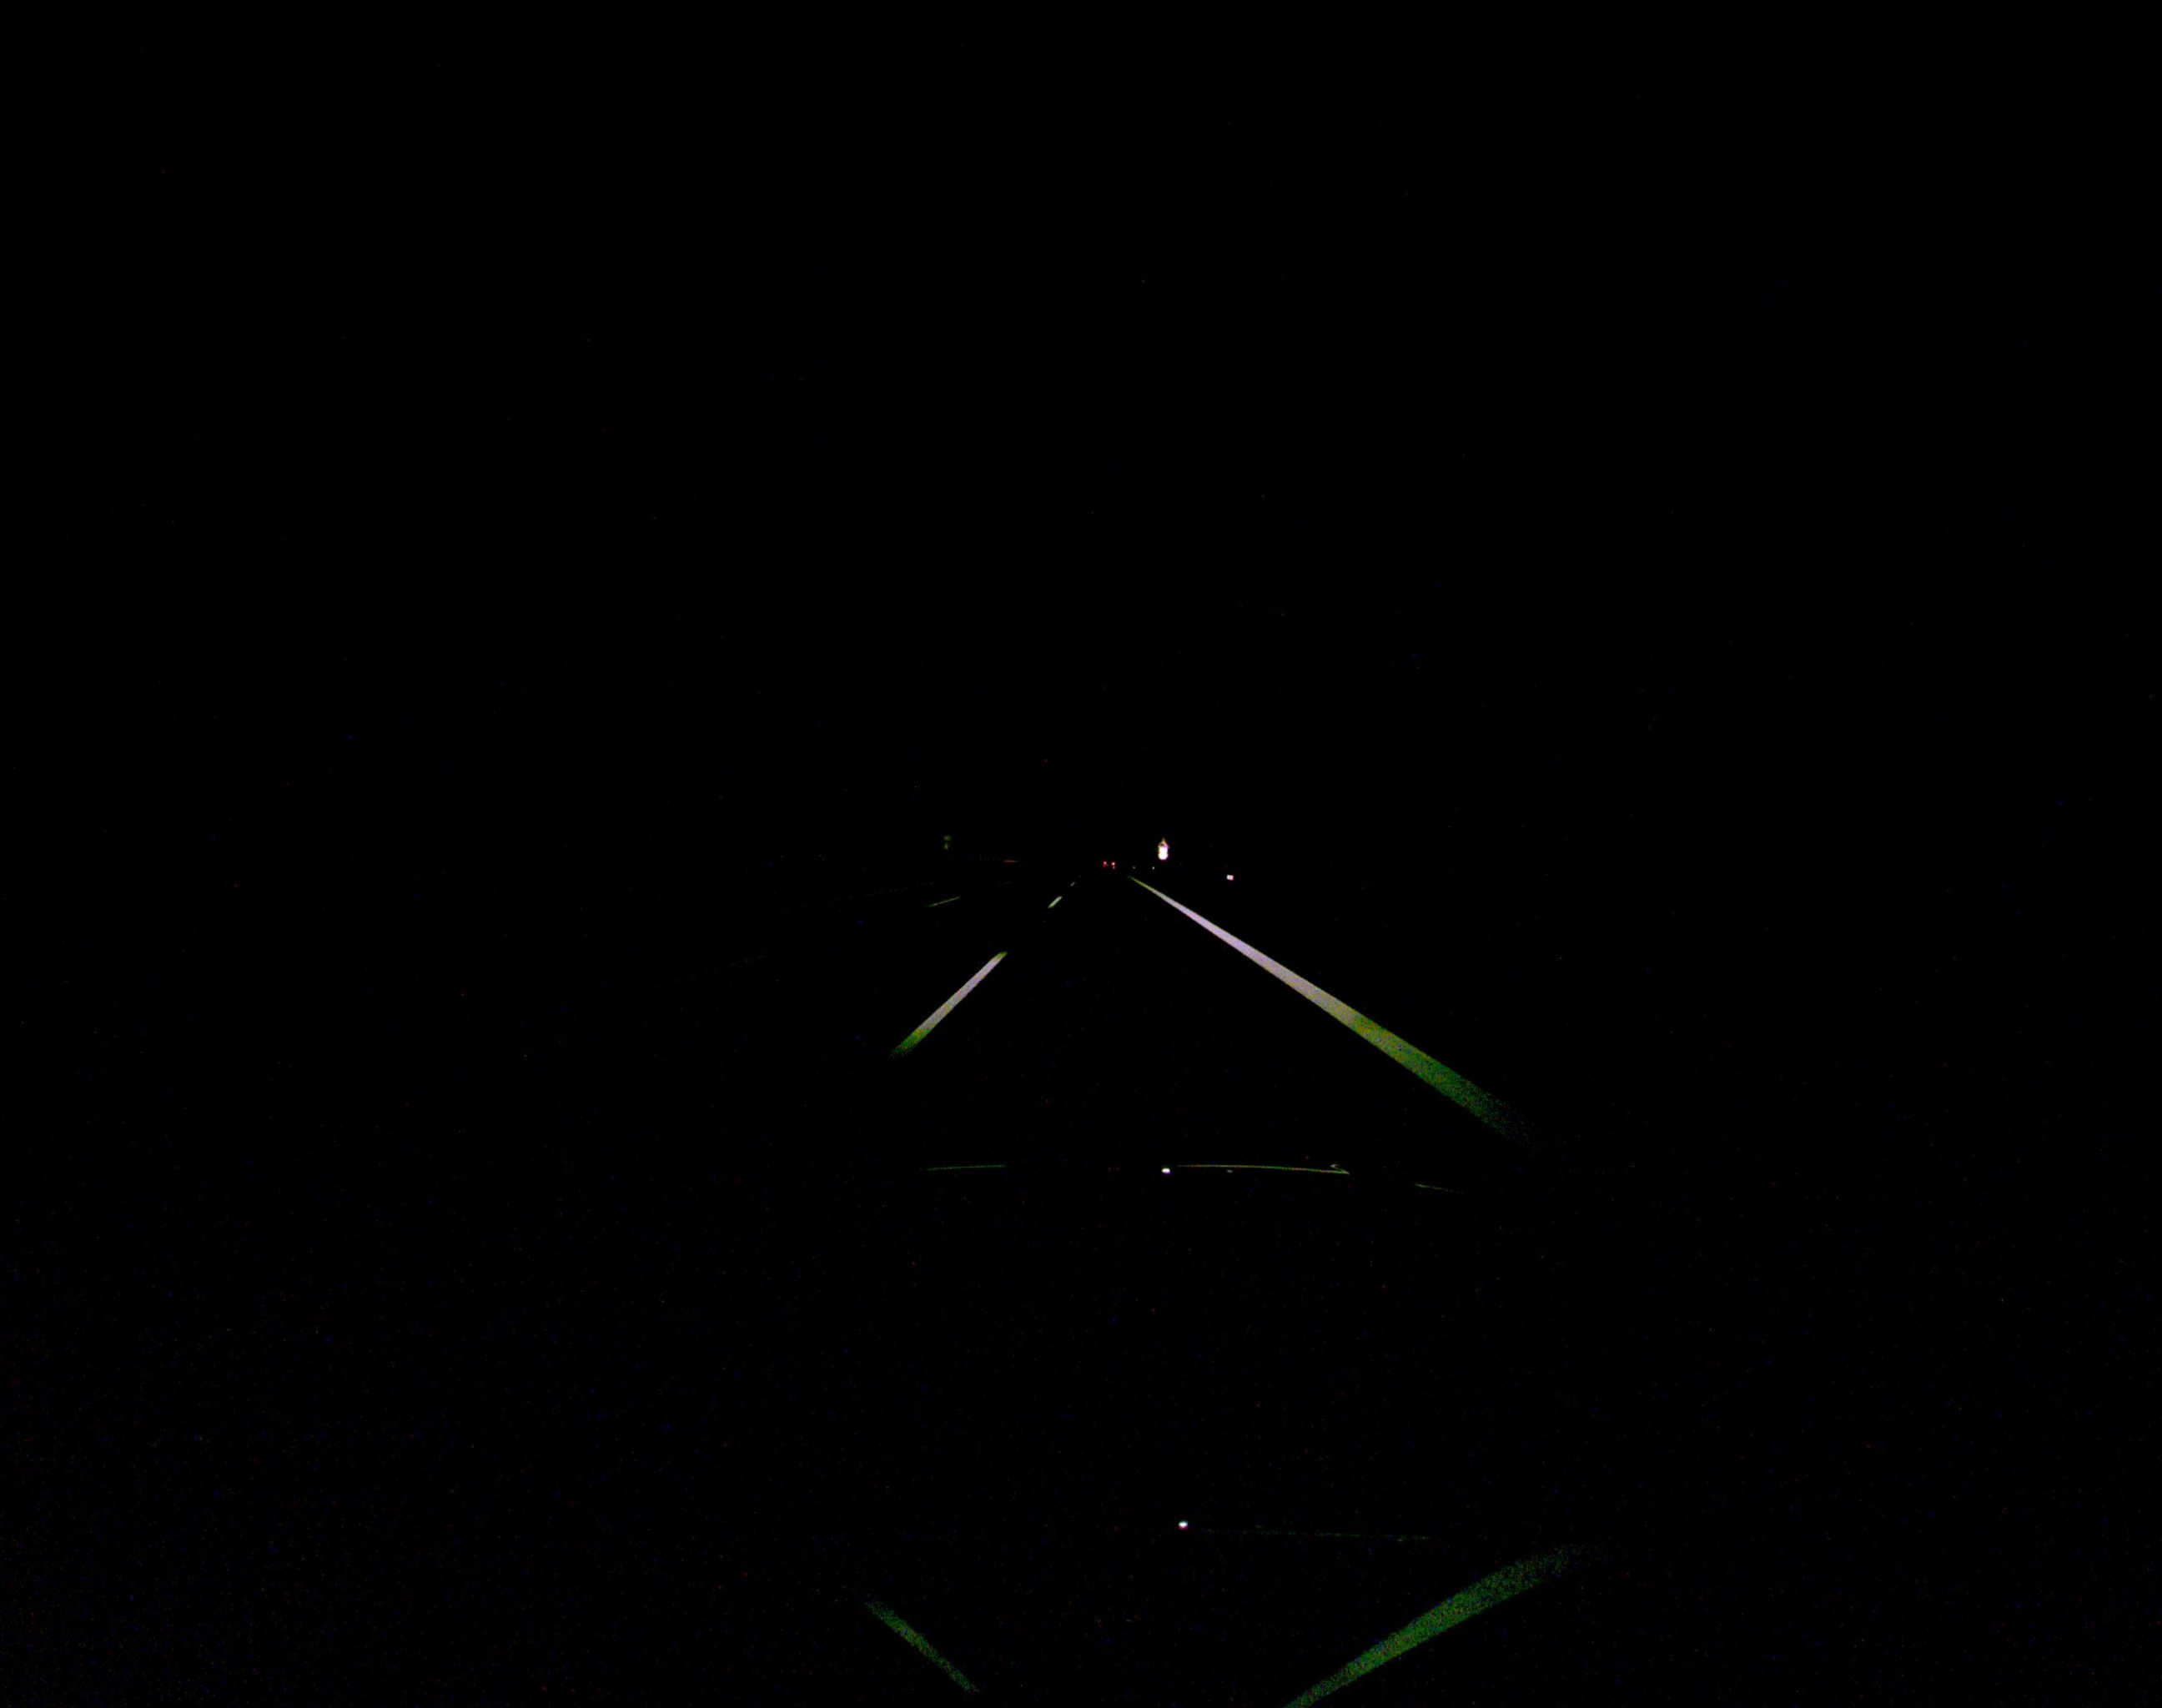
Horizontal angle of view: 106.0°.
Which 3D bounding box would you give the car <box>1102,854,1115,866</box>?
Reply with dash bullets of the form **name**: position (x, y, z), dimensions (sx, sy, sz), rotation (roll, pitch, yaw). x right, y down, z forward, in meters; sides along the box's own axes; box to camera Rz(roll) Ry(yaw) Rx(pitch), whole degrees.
- **car**: position (6.029, 1.236, 177.065), dimensions (2.517, 2.553, 6.056), rotation (1, 0, 3)
